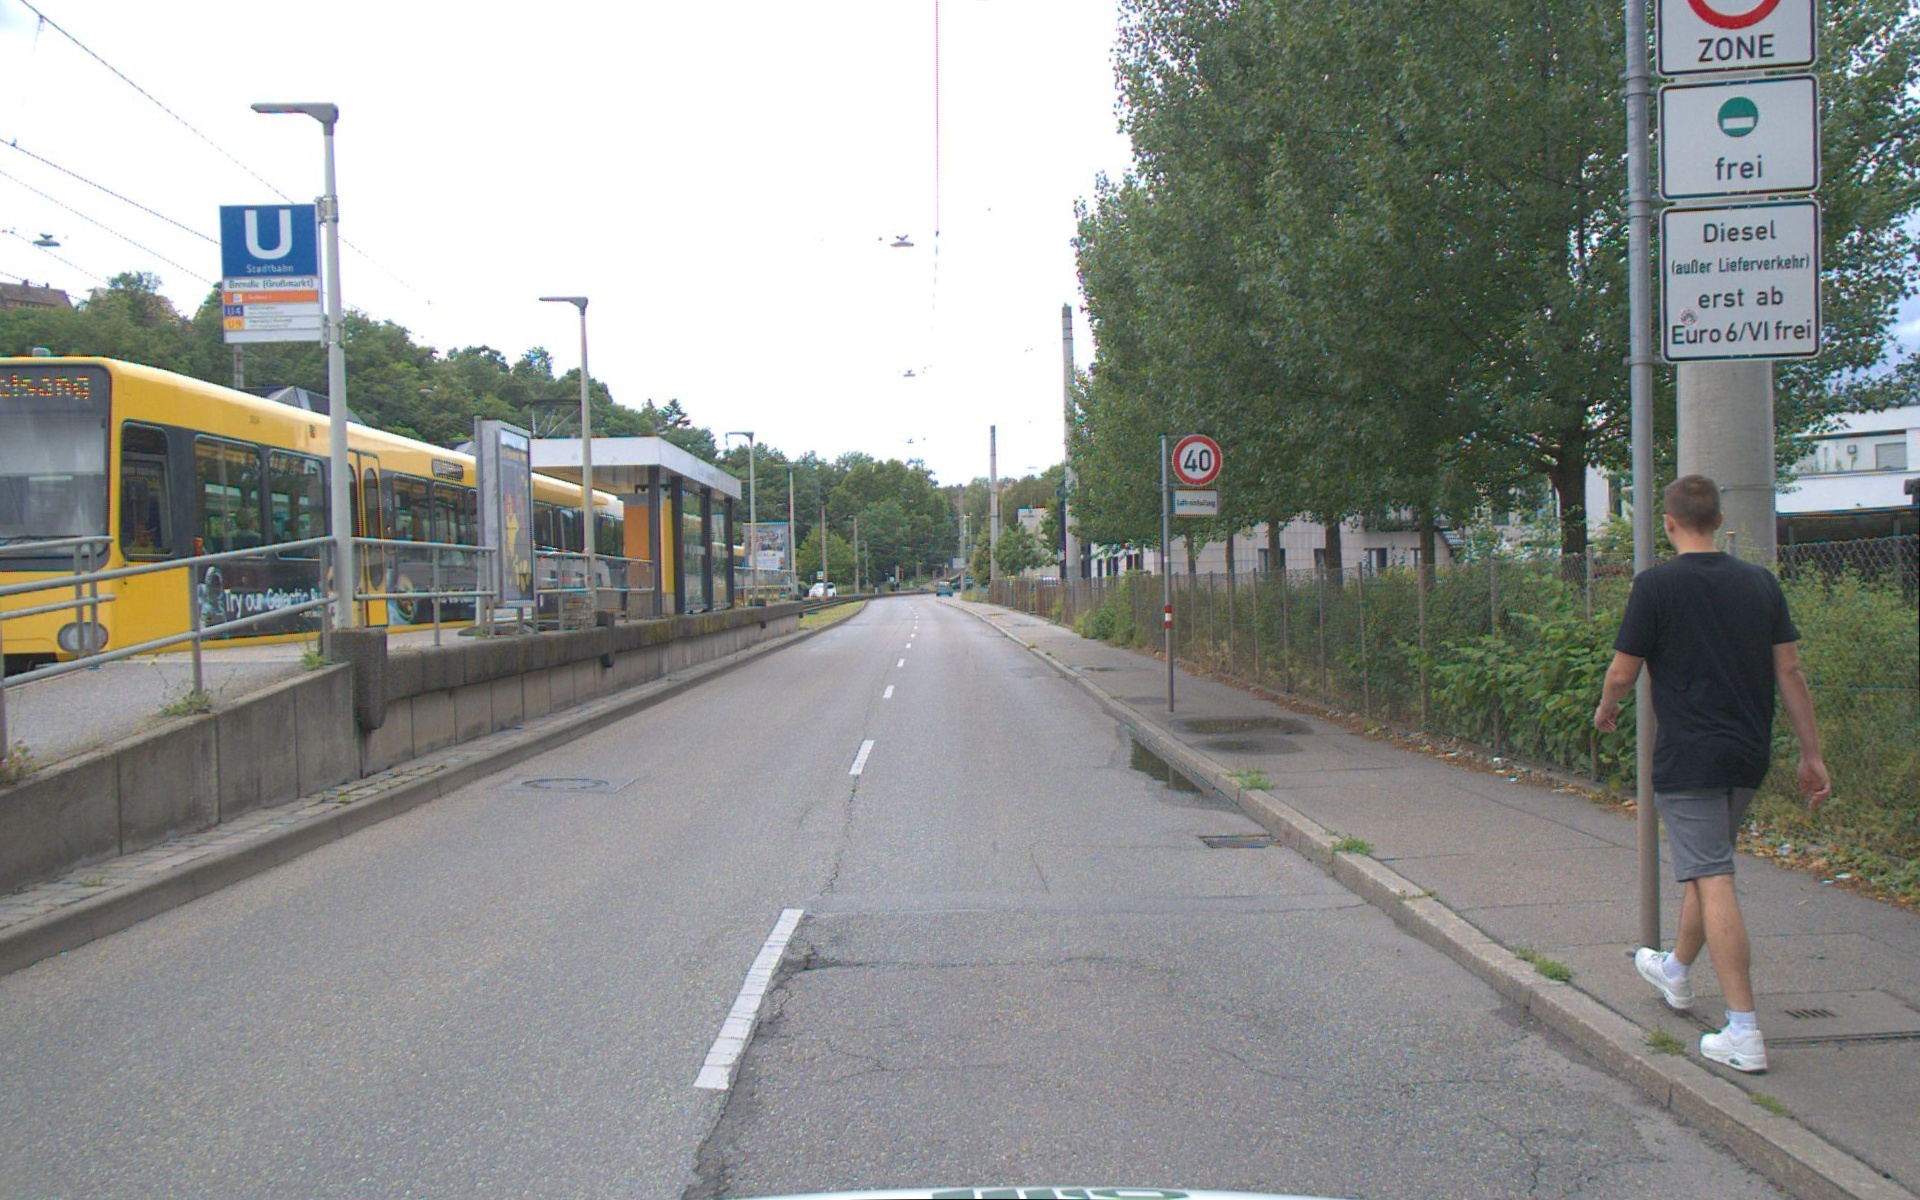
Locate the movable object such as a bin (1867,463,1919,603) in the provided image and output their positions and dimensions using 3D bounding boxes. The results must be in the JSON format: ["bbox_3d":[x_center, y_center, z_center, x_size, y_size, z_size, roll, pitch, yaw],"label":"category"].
[{"bbox_3d":[16.577,-1.095,27.629,1.953,2.049,4.293,-3,-3,23],"label":"movable object such as a bin"}]

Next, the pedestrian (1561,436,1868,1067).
[{"bbox_3d":[2.418,0.469,5.380,0.590,1.900,0.671,-2,-3,0],"label":"pedestrian"}]

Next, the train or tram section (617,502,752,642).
[{"bbox_3d":[-8.979,-0.968,55.184,2.911,4.136,10.195,-2,1,-1],"label":"train or tram section"}]

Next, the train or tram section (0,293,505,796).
[{"bbox_3d":[-8.235,-0.554,19.315,2.685,4.035,11.910,-2,1,-1],"label":"train or tram section"}]

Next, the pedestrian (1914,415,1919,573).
[{"bbox_3d":[3.118,0.399,4.501,0.590,1.900,0.671,-2,-1,0],"label":"pedestrian"}]

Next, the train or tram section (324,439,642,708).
[{"bbox_3d":[-8.441,-0.536,31.290,2.685,4.035,11.910,-2,1,-1],"label":"train or tram section"}]

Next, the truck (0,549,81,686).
[{"bbox_3d":[-23.220,0.447,36.543,2.639,3.132,9.008,-2,0,1],"label":"truck"}]
